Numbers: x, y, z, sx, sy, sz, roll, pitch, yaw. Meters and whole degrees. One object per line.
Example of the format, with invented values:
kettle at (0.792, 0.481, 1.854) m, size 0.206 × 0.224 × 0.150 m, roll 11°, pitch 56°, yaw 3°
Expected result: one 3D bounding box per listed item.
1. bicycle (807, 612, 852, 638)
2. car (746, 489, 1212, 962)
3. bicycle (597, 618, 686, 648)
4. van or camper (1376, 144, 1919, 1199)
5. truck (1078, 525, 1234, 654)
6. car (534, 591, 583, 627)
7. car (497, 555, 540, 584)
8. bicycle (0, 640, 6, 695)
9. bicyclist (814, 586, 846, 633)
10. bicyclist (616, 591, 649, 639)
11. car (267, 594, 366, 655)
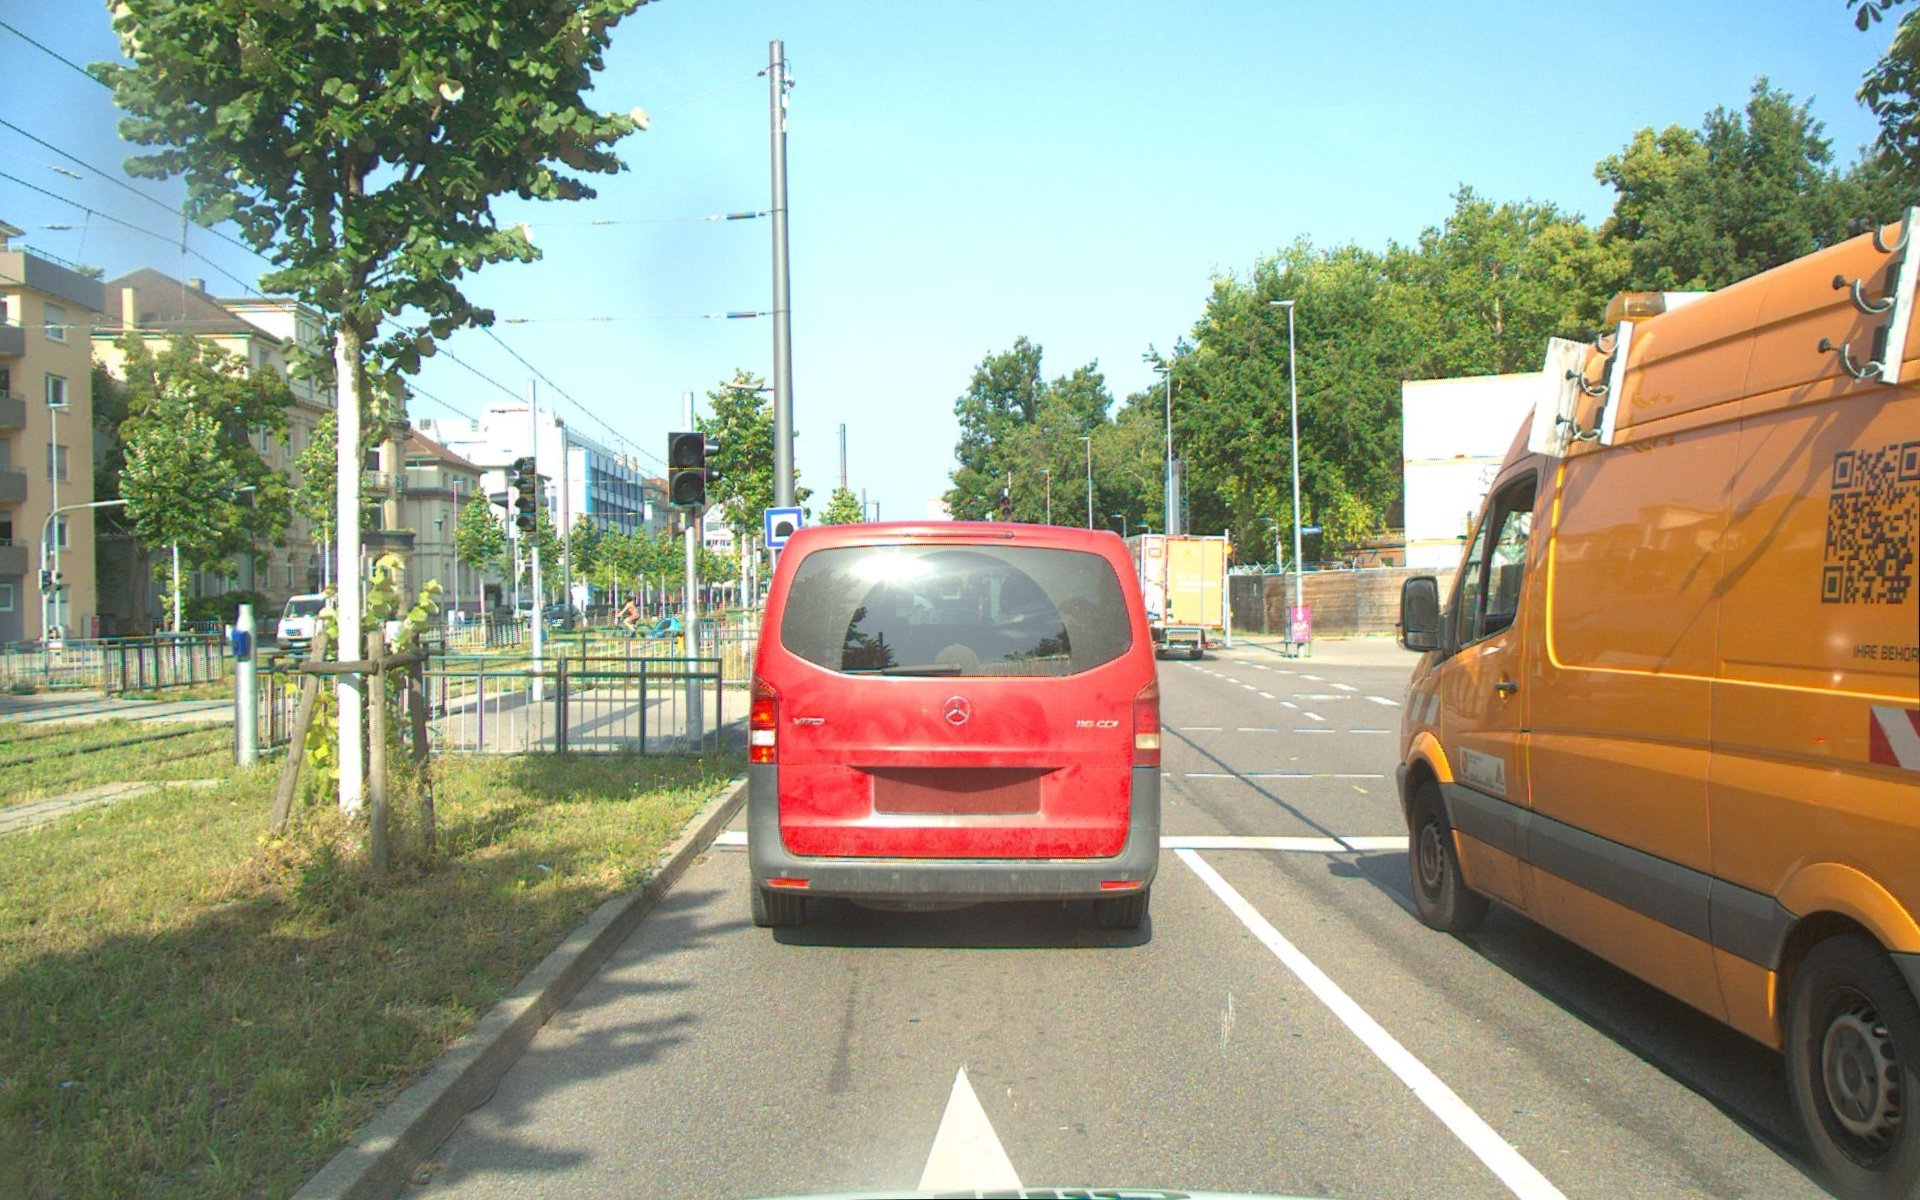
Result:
bicycle at (-4.129, 0.796, 52.532) m, size 0.704 × 0.812 × 1.602 m, roll 1°, pitch -1°, yaw 26°
car at (0.024, 0.510, 8.675) m, size 1.863 × 1.892 × 3.999 m, roll 1°, pitch 0°, yaw -2°
bicycle at (-11.172, 1.152, 58.107) m, size 2.924 × 0.982 × 0.901 m, roll -1°, pitch 0°, yaw 6°
van or camper at (3.217, 0.199, 5.708) m, size 1.945 × 2.515 × 6.059 m, roll 0°, pitch -1°, yaw -1°
truck at (5.062, -0.228, 44.176) m, size 2.454 × 3.114 × 7.810 m, roll 1°, pitch 0°, yaw -6°
car at (-24.231, 0.574, 99.983) m, size 1.953 × 2.049 × 3.999 m, roll -2°, pitch 0°, yaw -1°
car at (-35.049, -2.388, 131.365) m, size 2.205 × 2.049 × 5.259 m, roll 1°, pitch -2°, yaw -3°
bicycle at (-17.505, 1.228, 28.840) m, size 1.574 × 0.951 × 0.558 m, roll -4°, pitch 1°, yaw 19°
bicyclist at (-4.124, 0.301, 52.541) m, size 0.672 × 1.466 × 0.805 m, roll 1°, pitch -1°, yaw 27°
bicyclist at (-11.498, 0.522, 58.128) m, size 0.871 × 1.657 × 0.893 m, roll -1°, pitch 0°, yaw 6°
car at (-25.490, 0.917, 65.725) m, size 2.005 × 2.278 × 5.332 m, roll -1°, pitch 0°, yaw -2°
